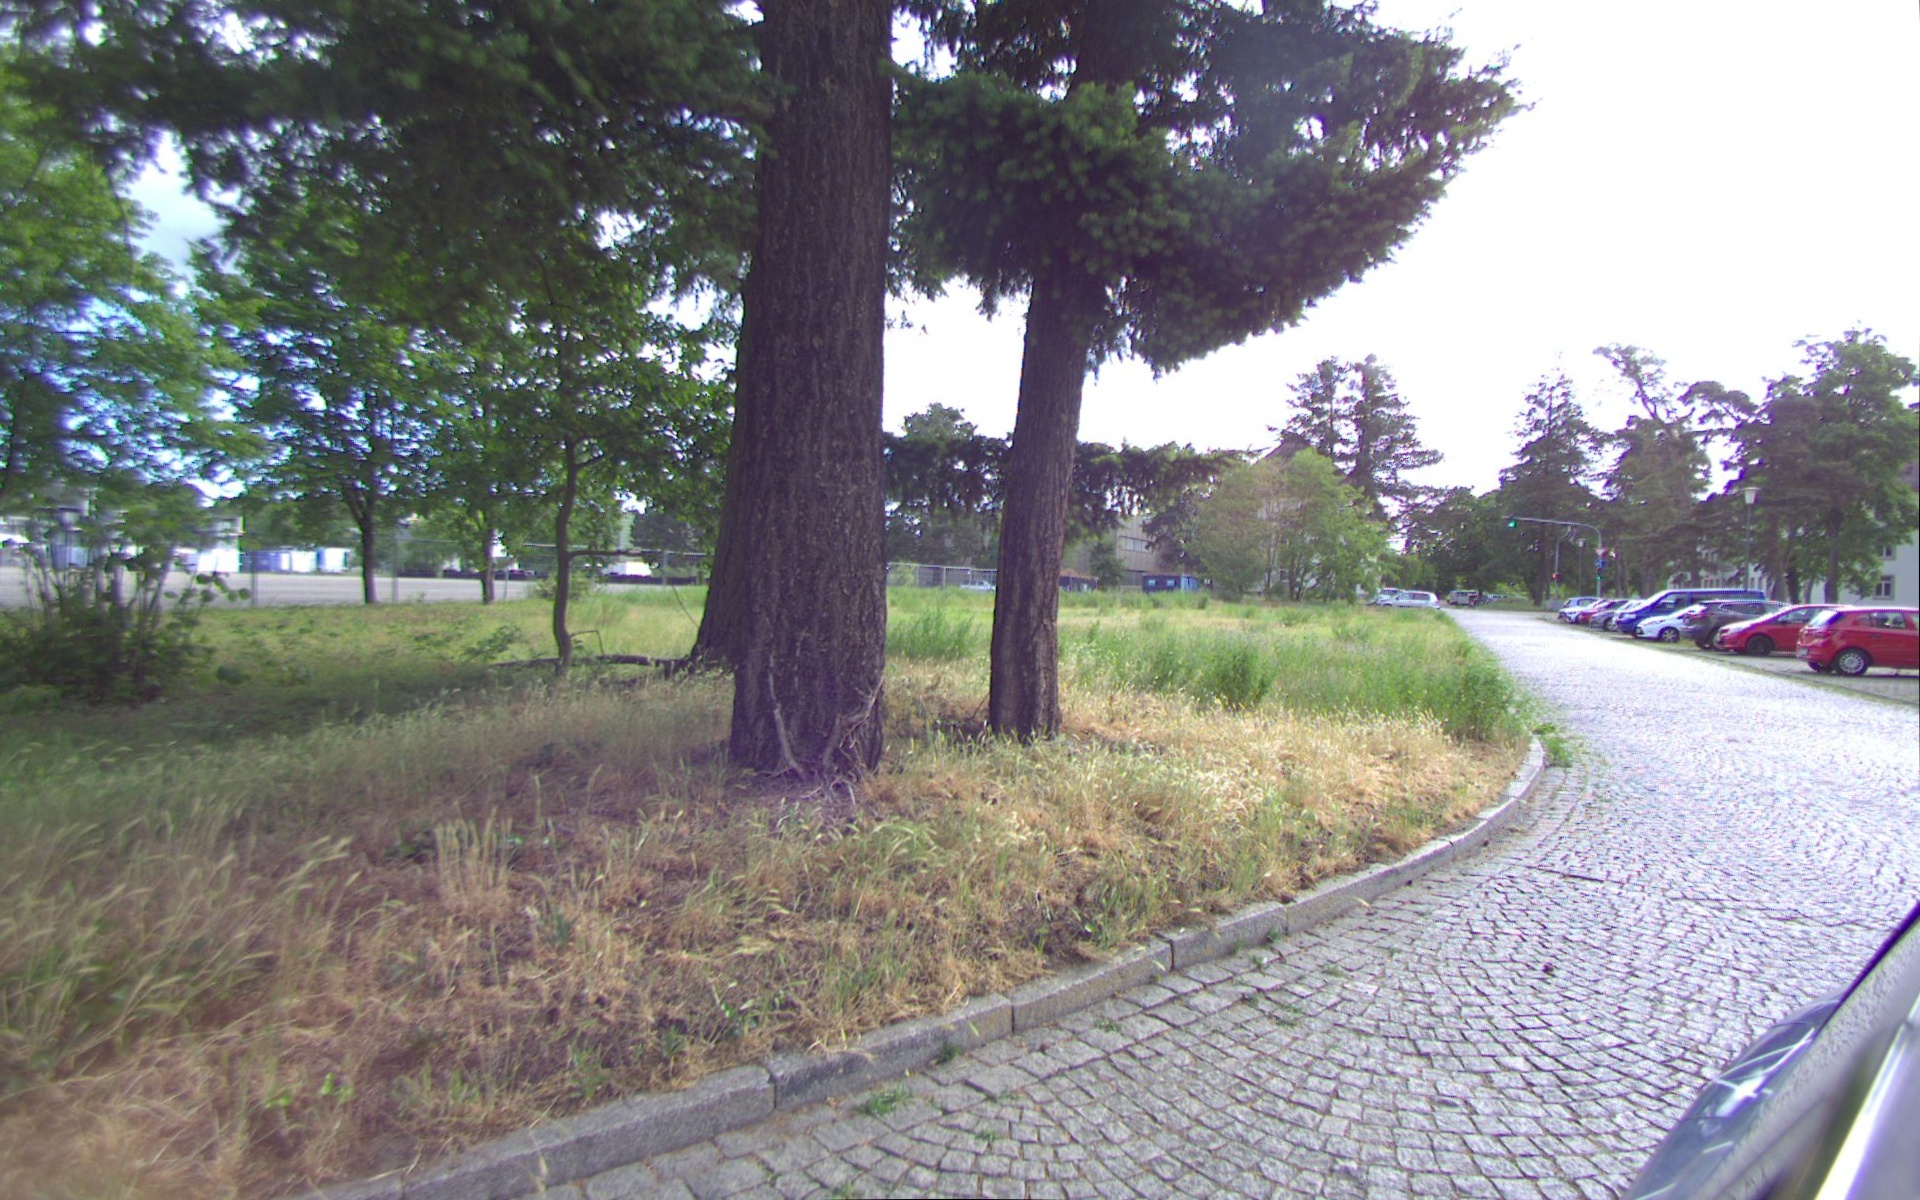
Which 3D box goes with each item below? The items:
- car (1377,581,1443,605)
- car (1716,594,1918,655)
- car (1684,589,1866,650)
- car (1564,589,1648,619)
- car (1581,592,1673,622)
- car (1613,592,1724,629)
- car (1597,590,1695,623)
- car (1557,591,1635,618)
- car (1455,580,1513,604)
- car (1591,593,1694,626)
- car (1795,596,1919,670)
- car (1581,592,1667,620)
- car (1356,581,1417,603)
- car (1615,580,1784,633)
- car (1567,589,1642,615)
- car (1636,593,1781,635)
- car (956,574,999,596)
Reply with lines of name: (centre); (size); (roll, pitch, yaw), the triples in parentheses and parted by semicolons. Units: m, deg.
car: (28.307, -0.434, 63.765); (3.687, 1.455, 1.615); (0, 1, 22)
car: (23.630, 0.636, 28.093); (3.914, 1.539, 1.692); (1, 0, 26)
car: (24.538, 0.549, 30.664); (3.875, 1.623, 1.807); (2, 1, 23)
car: (35.292, 0.211, 55.347); (3.525, 1.506, 1.594); (-1, 1, 18)
car: (33.772, 0.348, 51.318); (3.526, 1.434, 1.629); (-1, 1, 19)
car: (30.534, 0.436, 43.729); (3.553, 1.472, 1.678); (-1, 1, 19)
car: (32.995, 0.324, 48.767); (3.526, 1.452, 1.597); (-1, 1, 19)
car: (36.422, 0.253, 58.052); (3.533, 1.476, 1.614); (-1, 1, 23)
car: (63.088, -0.967, 121.963); (5.727, 2.594, 2.752); (-1, 1, 20)
car: (31.183, 0.449, 46.336); (3.553, 1.438, 1.609); (0, 1, 19)
car: (20.296, 0.682, 21.304); (3.856, 1.497, 1.657); (1, 1, 25)
car: (34.922, 0.340, 53.337); (3.621, 1.365, 1.604); (-1, 1, 30)
car: (29.181, -0.543, 69.274); (3.682, 1.456, 1.617); (-1, 1, 18)
car: (28.113, 0.253, 38.683); (4.783, 1.889, 2.145); (-1, 1, 24)
car: (38.315, 0.098, 60.228); (3.406, 1.450, 1.620); (-1, 1, 16)
car: (26.889, 0.510, 36.510); (3.889, 1.410, 1.729); (-1, 1, 24)
car: (1.663, -1.417, 97.535); (3.691, 1.928, 2.004); (2, -1, -15)
